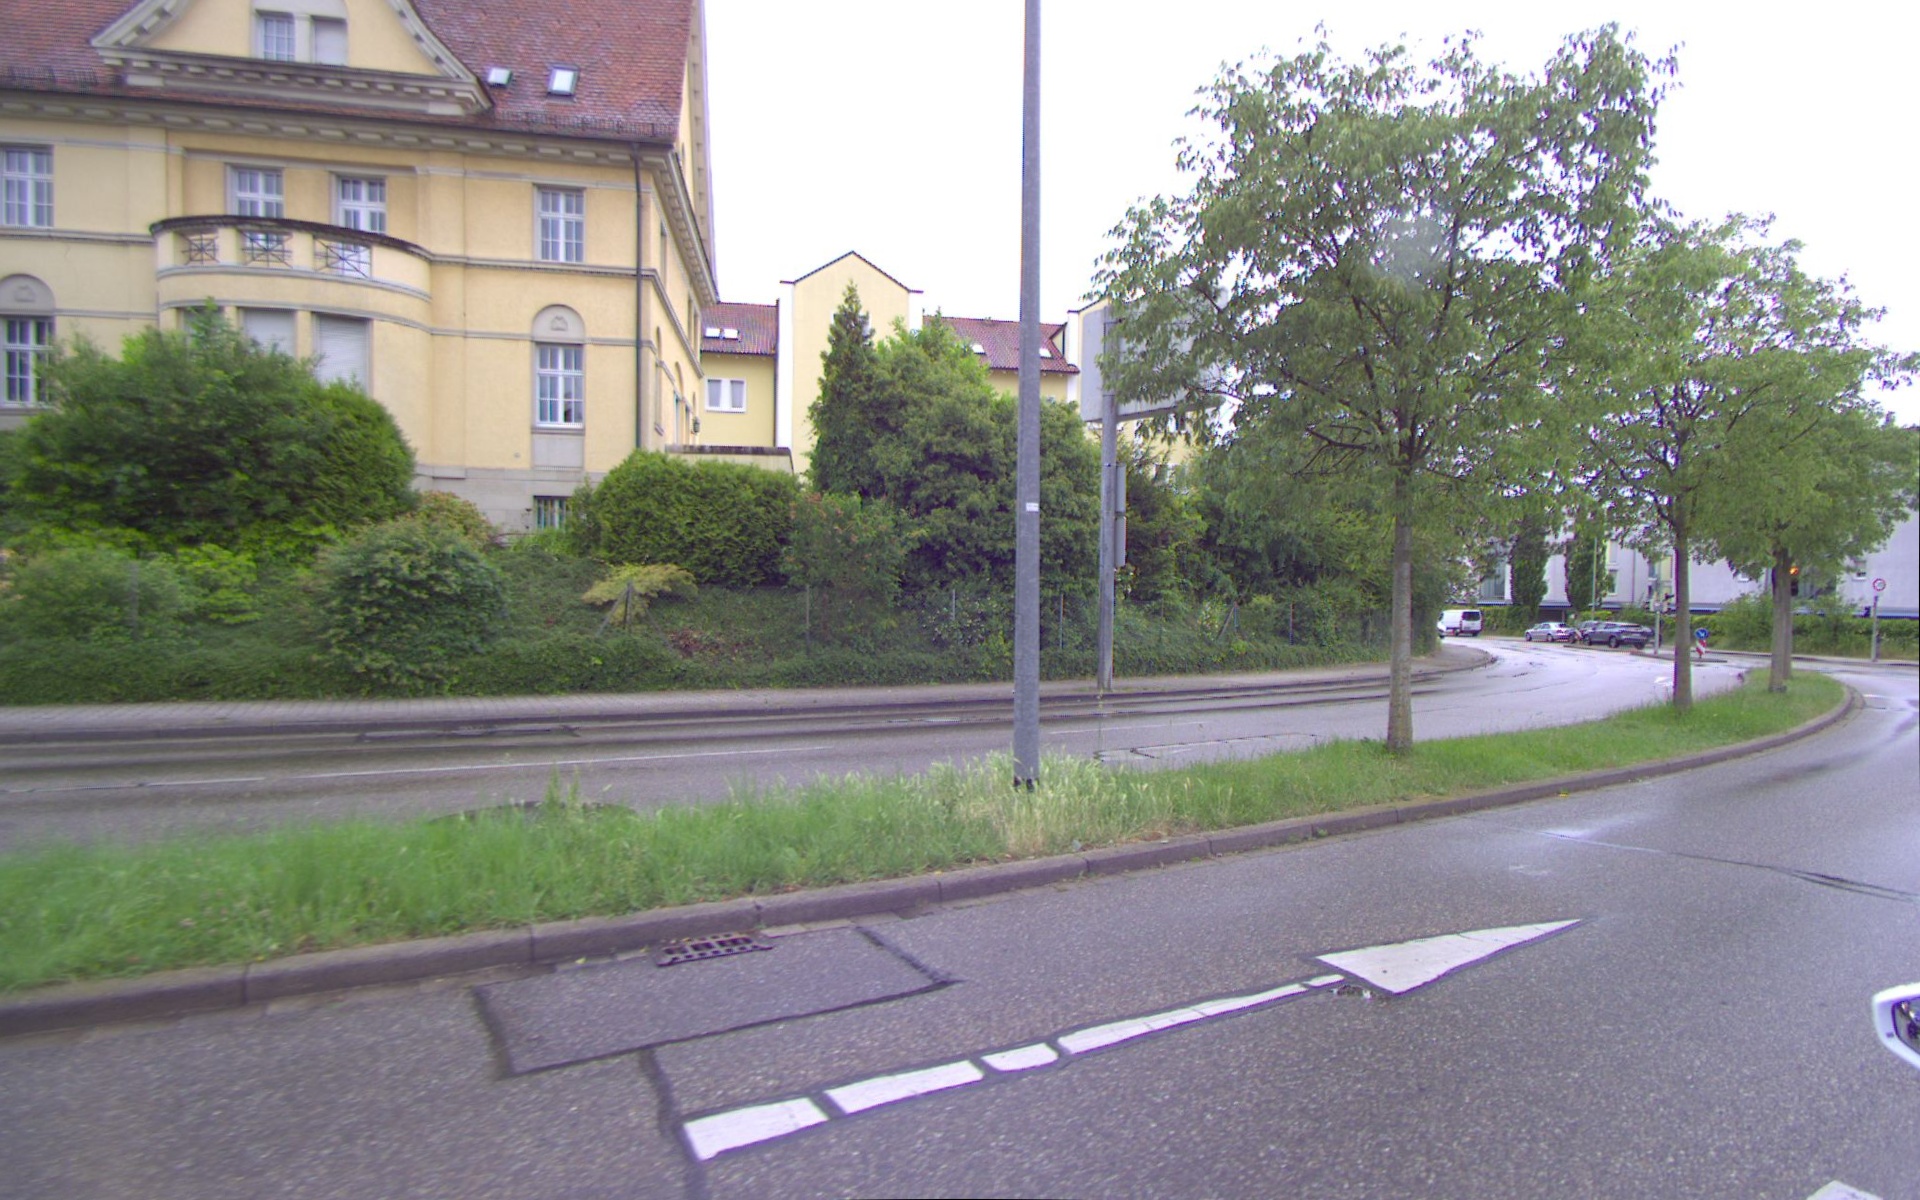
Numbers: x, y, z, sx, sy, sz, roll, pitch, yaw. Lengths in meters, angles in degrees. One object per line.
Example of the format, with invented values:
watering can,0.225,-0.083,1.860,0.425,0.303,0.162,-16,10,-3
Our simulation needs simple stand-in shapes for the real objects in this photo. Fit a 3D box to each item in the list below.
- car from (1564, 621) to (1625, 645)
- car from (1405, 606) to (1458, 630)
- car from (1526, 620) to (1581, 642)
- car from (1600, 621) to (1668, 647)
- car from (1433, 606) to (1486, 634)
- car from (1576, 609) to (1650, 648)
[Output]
car,45.283,2.316,71.813,1.960,1.576,4.001,1,0,2
car,37.183,1.425,79.385,1.962,1.662,3.996,1,1,-6
car,45.296,2.370,76.765,1.960,1.576,4.001,1,0,2
car,44.925,2.239,67.085,1.960,1.576,4.001,0,0,2
car,45.766,1.843,92.157,2.548,2.445,5.260,1,-2,5
car,41.053,1.745,63.246,1.942,2.041,3.998,1,4,-1
